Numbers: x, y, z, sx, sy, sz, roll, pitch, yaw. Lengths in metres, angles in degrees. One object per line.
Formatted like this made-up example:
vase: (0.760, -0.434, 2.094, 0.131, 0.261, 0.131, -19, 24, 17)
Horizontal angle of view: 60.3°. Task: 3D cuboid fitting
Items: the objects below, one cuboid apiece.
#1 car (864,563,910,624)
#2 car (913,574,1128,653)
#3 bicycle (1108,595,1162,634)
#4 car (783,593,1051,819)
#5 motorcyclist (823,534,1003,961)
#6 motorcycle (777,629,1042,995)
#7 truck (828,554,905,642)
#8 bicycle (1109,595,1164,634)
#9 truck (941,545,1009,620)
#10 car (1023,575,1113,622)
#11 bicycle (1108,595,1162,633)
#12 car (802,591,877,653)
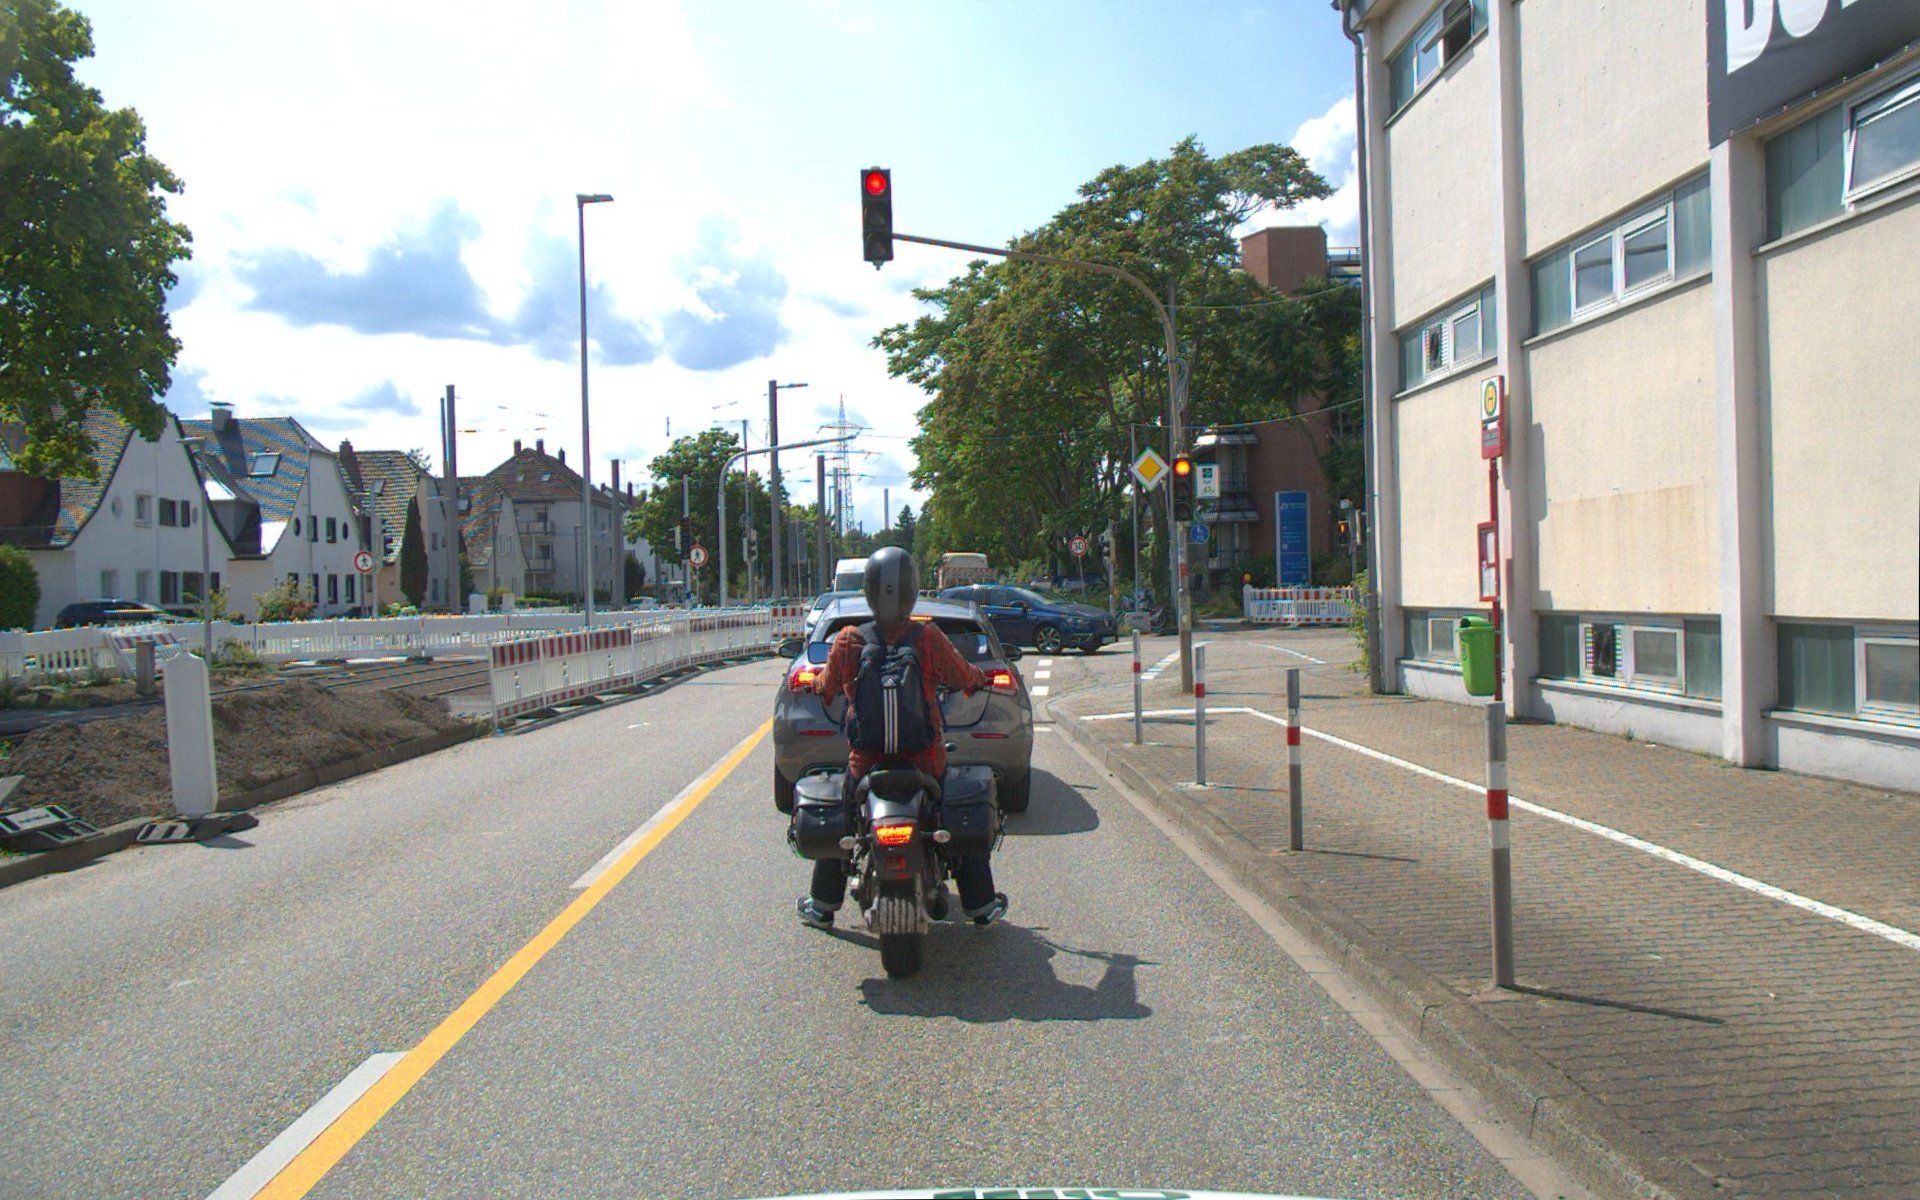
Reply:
car: (-2.664, -0.238, 61.178, 1.557, 2.180, 3.626, 0, 0, -1)
car: (1.226, 0.263, 34.128, 4.179, 1.524, 1.646, -1, 1, 33)
bicycle: (5.457, 0.444, 51.632, 1.672, 1.192, 0.438, 0, -1, 4)
car: (-0.473, 0.672, 12.586, 1.698, 1.428, 4.081, 1, 0, -6)
motorcyclist: (-0.189, 0.567, 6.697, 0.684, 1.632, 0.691, 0, -1, -2)
motorcycle: (-0.207, 0.770, 7.066, 0.923, 1.221, 2.472, 0, 0, -1)
truck: (-2.884, -0.135, 52.147, 2.050, 2.519, 5.196, -3, 2, -1)
bicycle: (5.453, 0.441, 51.087, 1.672, 1.192, 0.438, 0, -1, 4)
truck: (0.711, -0.723, 75.165, 2.906, 3.229, 7.765, 0, 0, 1)
car: (4.686, -0.056, 71.234, 1.772, 1.959, 3.973, 0, -1, 43)
bicycle: (5.527, 0.448, 52.330, 1.672, 1.192, 0.438, 0, -1, 4)
car: (-3.069, 0.545, 42.823, 1.709, 1.462, 4.082, -2, 0, -2)
